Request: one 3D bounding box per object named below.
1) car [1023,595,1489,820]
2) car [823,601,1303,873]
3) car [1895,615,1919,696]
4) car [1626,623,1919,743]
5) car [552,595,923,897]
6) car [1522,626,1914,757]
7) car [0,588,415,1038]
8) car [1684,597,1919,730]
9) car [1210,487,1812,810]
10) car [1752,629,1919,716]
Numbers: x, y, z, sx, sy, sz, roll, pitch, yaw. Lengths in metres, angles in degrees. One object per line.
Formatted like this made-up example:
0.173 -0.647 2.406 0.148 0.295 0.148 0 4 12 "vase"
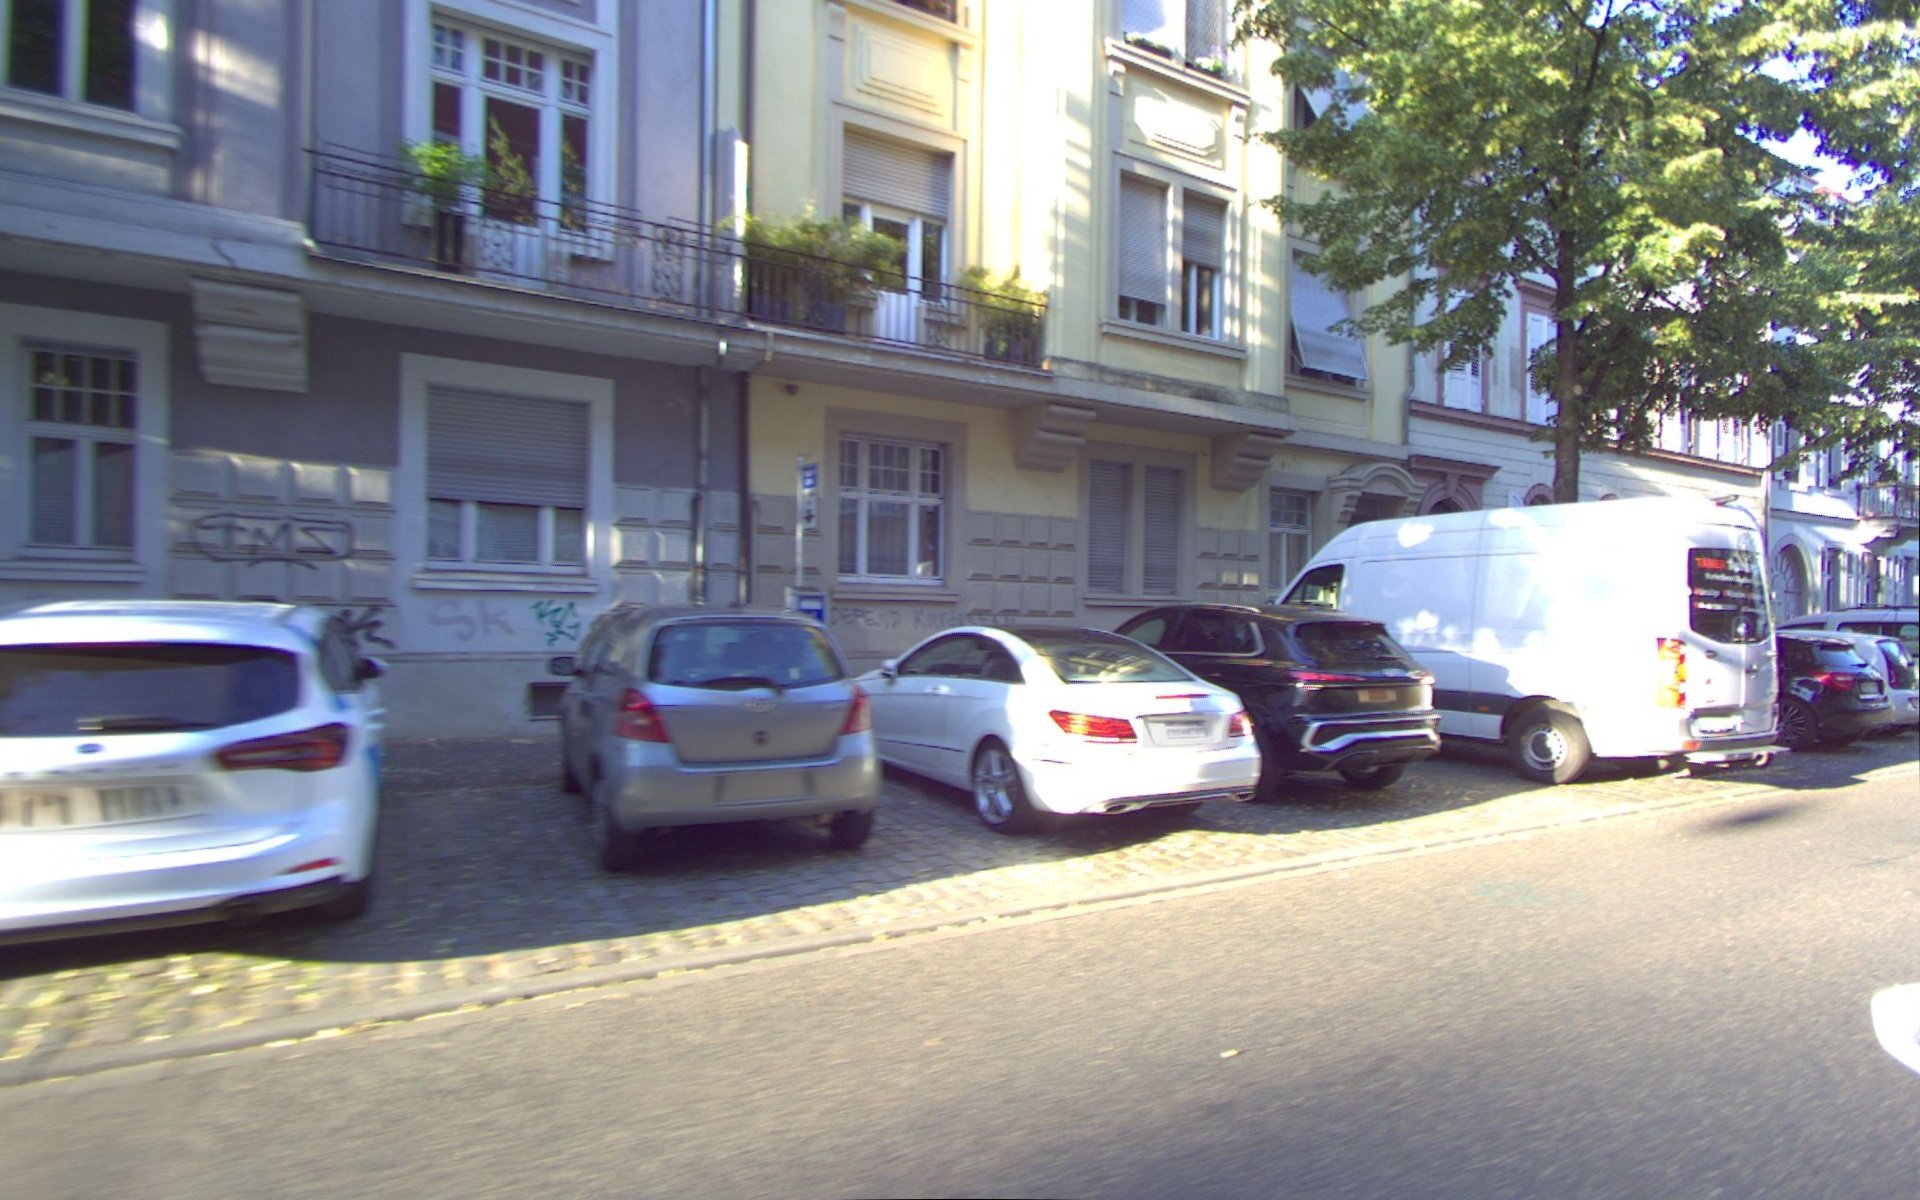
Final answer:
2.544 0.803 9.731 1.951 1.621 4.195 1 0 -28 "car"
0.504 0.820 8.138 1.771 1.526 4.193 1 0 -29 "car"
23.320 1.251 21.778 1.784 1.830 4.122 1 -1 -28 "car"
12.387 1.150 15.286 1.695 1.486 3.349 1 0 -33 "car"
-1.785 0.765 7.128 1.822 1.530 3.396 1 0 -26 "car"
10.206 1.143 13.848 1.730 1.422 3.967 2 -1 -31 "car"
-4.079 0.717 5.347 1.947 1.502 4.165 1 0 -30 "car"
14.781 0.970 16.363 1.894 1.979 4.483 1 -1 -27 "car"
5.608 0.381 11.280 2.145 2.656 5.633 1 0 -29 "car"
17.295 1.315 18.395 1.574 1.459 4.135 1 -1 -28 "car"
